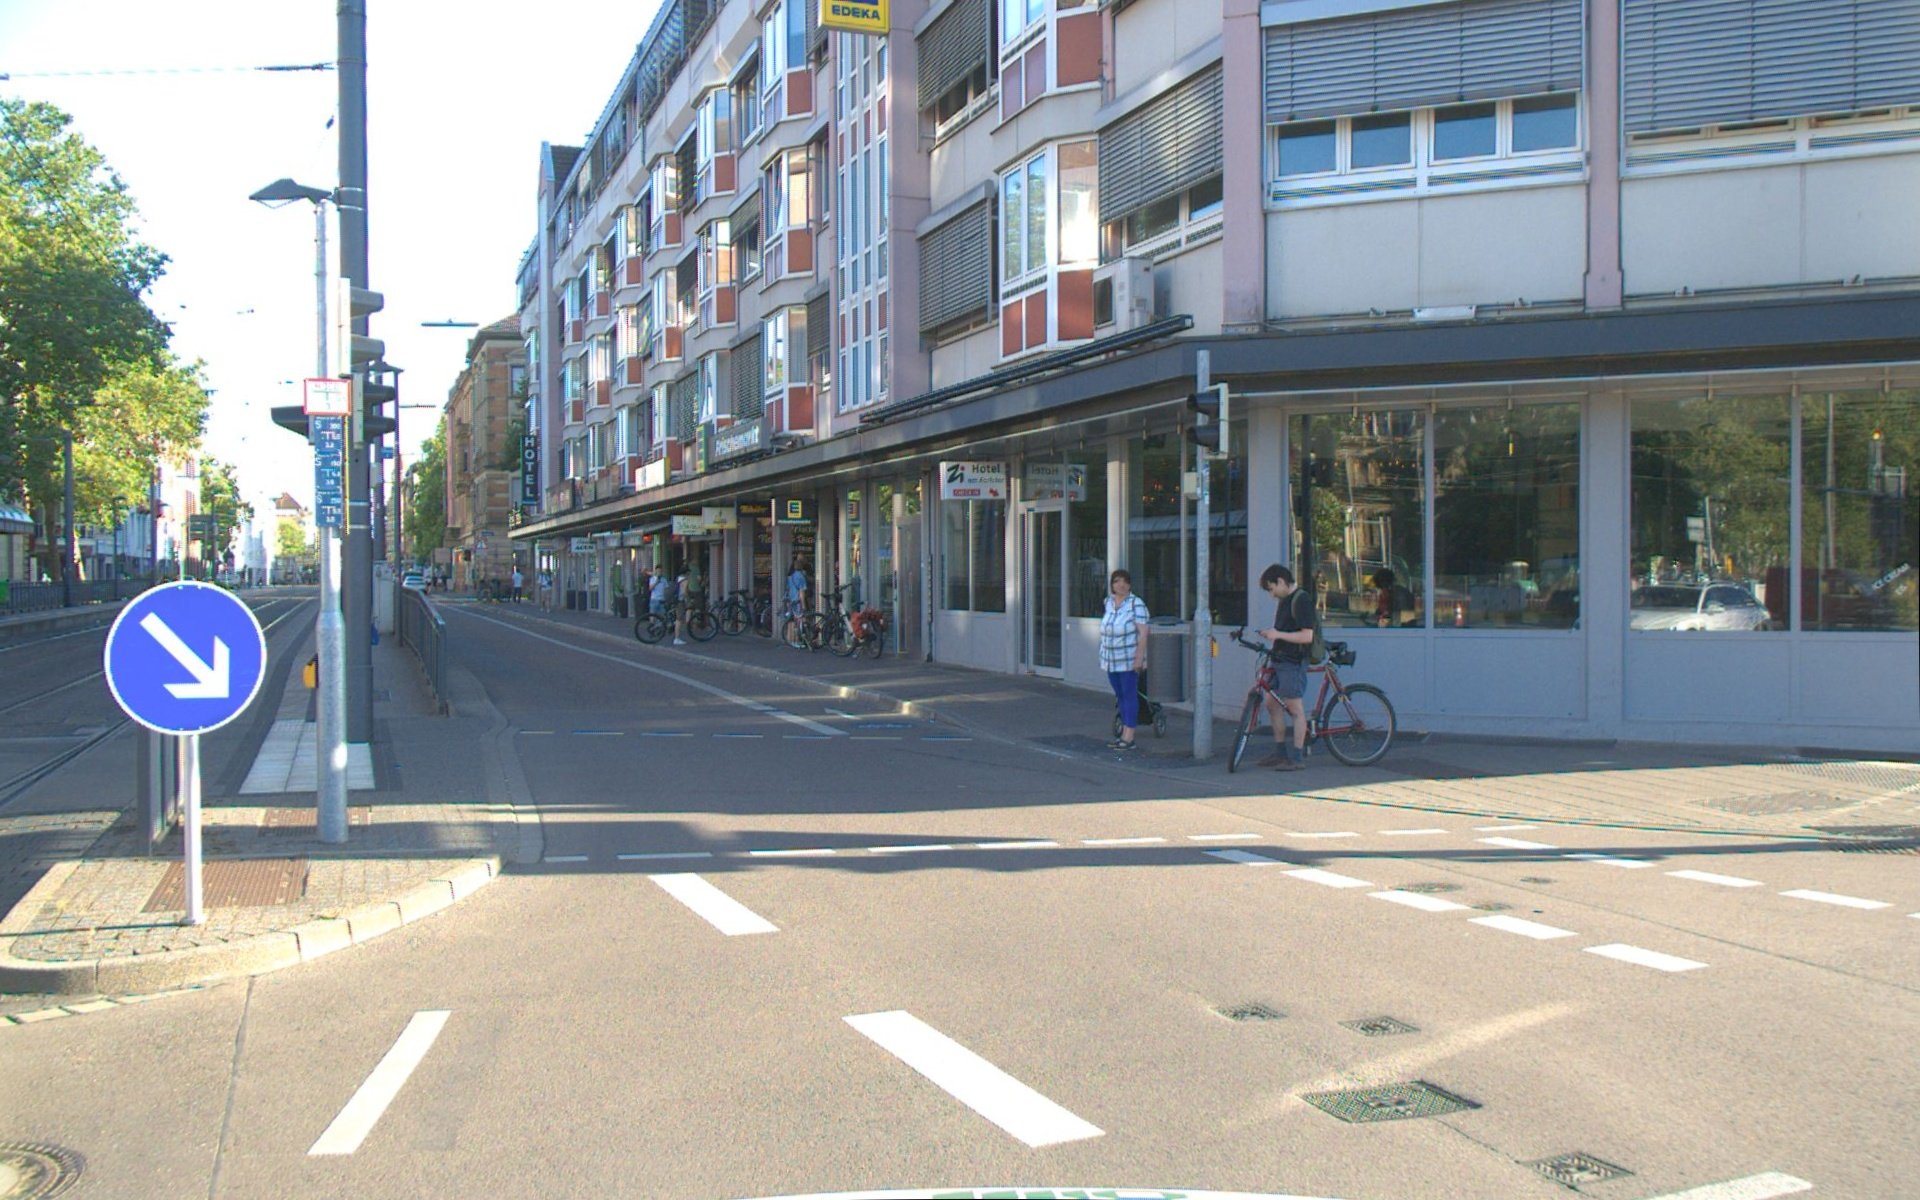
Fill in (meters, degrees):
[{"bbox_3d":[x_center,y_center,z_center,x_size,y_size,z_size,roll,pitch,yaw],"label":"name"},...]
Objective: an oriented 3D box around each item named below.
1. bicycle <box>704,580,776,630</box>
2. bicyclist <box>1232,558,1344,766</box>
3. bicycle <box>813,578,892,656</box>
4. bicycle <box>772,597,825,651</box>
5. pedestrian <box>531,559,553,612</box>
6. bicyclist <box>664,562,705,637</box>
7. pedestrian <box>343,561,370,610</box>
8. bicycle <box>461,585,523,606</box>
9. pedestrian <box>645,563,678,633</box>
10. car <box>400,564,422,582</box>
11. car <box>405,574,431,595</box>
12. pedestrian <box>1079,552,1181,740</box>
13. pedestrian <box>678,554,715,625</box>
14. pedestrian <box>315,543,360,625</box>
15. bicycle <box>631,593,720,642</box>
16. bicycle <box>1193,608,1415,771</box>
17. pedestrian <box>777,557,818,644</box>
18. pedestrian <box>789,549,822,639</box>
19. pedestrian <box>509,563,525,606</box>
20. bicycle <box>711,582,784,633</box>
[{"bbox_3d":[-5.271,0.111,39.715,1.624,1.138,0.561,-1,2,-26],"label":"bicycle"},{"bbox_3d":[2.698,0.489,13.629,0.647,1.624,0.637,-3,3,-22],"label":"bicyclist"},{"bbox_3d":[-1.831,0.258,27.828,0.717,1.248,2.319,0,1,-20],"label":"bicycle"},{"bbox_3d":[-2.999,0.420,30.610,0.492,0.933,2.067,0,1,-20],"label":"bicycle"},{"bbox_3d":[-16.372,-0.558,64.808,0.825,2.048,0.774,0,2,-16],"label":"pedestrian"},{"bbox_3d":[-5.992,-0.015,35.961,0.785,1.559,0.627,-3,2,-10],"label":"bicyclist"},{"bbox_3d":[-21.028,-0.518,57.635,0.771,1.688,0.676,-1,2,-31],"label":"pedestrian"},{"bbox_3d":[-24.665,-0.250,87.229,0.885,1.009,3.155,2,3,41],"label":"bicycle"},{"bbox_3d":[-7.252,-0.061,40.131,0.738,1.673,0.548,0,2,-16],"label":"pedestrian"},{"bbox_3d":[-51.383,-2.525,154.769,1.963,1.578,3.979,0,2,-19],"label":"car"},{"bbox_3d":[-43.610,-1.275,132.938,1.963,1.578,3.979,0,2,-19],"label":"car"},{"bbox_3d":[1.579,0.411,15.334,0.703,1.691,0.630,0,0,41],"label":"pedestrian"},{"bbox_3d":[-6.786,-0.283,42.599,0.800,1.809,0.681,1,2,4],"label":"pedestrian"},{"bbox_3d":[-13.073,-0.353,34.737,0.771,1.688,0.676,-1,2,-31],"label":"pedestrian"},{"bbox_3d":[-6.231,0.373,36.233,1.870,0.946,0.627,-3,2,-10],"label":"bicycle"},{"bbox_3d":[2.858,0.712,13.705,1.740,1.165,0.637,-3,3,-23],"label":"bicycle"},{"bbox_3d":[-3.182,0.002,32.443,0.596,1.663,0.604,1,2,20],"label":"pedestrian"},{"bbox_3d":[-3.246,-0.133,34.765,0.599,1.884,0.601,0,2,-16],"label":"pedestrian"},{"bbox_3d":[-21.170,-0.747,79.045,0.761,2.048,0.502,0,2,-17],"label":"pedestrian"},{"bbox_3d":[-4.920,0.173,38.335,1.624,1.138,0.480,-1,2,-26],"label":"bicycle"}]
